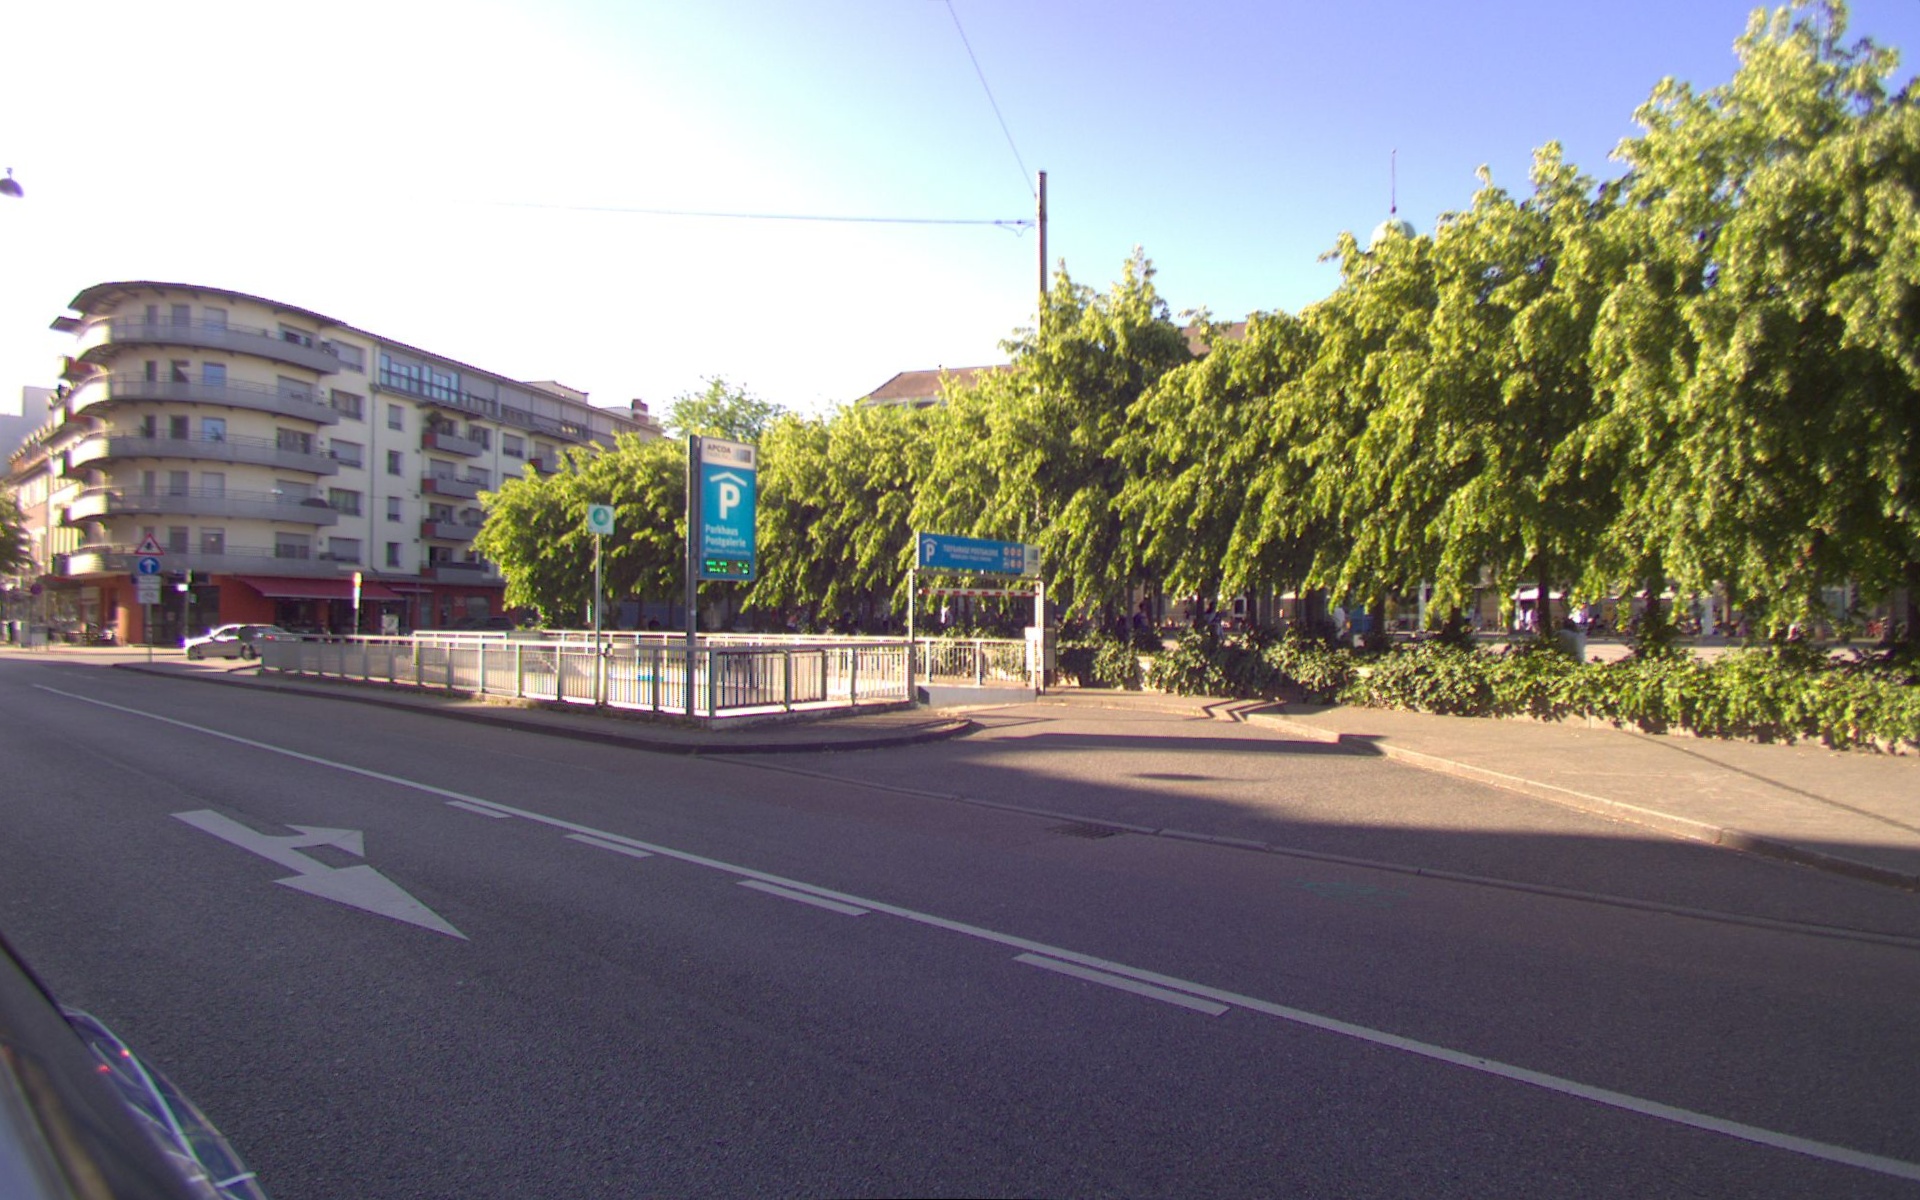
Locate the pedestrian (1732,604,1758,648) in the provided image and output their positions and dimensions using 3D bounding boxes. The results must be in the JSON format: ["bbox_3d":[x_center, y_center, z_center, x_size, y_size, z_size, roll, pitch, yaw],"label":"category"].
[{"bbox_3d":[31.691,1.038,40.852,0.641,1.734,0.605,-1,0,18],"label":"pedestrian"}]

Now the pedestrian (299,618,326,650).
[{"bbox_3d":[-33.609,1.758,52.530,0.877,1.607,0.861,-1,0,2],"label":"pedestrian"}]

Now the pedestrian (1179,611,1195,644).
[{"bbox_3d":[11.919,1.433,53.125,0.606,1.734,0.640,-1,0,31],"label":"pedestrian"}]

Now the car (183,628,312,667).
[{"bbox_3d":[-28.011,1.856,39.825,4.224,1.363,1.816,1,-2,14],"label":"car"}]

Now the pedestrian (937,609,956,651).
[{"bbox_3d":[-0.579,1.271,42.720,0.604,1.734,0.642,-1,0,21],"label":"pedestrian"}]

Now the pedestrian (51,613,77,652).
[{"bbox_3d":[-46.587,1.673,52.617,0.888,2.029,0.850,-1,0,40],"label":"pedestrian"}]

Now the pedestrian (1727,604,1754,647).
[{"bbox_3d":[31.697,1.038,41.114,0.640,1.734,0.606,-1,0,13],"label":"pedestrian"}]

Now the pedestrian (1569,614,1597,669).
[{"bbox_3d":[19.889,1.316,32.317,0.643,1.734,0.604,-1,0,22],"label":"pedestrian"}]

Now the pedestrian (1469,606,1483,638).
[{"bbox_3d":[28.659,1.215,56.235,0.643,1.734,0.603,-1,0,26],"label":"pedestrian"}]

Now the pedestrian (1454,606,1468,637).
[{"bbox_3d":[28.514,1.217,57.611,0.643,1.734,0.603,-1,0,26],"label":"pedestrian"}]

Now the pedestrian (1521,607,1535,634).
[{"bbox_3d":[36.715,1.351,65.428,0.642,1.734,0.604,-1,0,20],"label":"pedestrian"}]

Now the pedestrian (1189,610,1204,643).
[{"bbox_3d":[12.565,1.408,53.739,0.606,1.734,0.640,-1,0,31],"label":"pedestrian"}]

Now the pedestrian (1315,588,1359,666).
[{"bbox_3d":[8.186,0.578,21.967,0.645,1.661,0.626,-1,0,-35],"label":"pedestrian"}]

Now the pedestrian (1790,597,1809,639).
[{"bbox_3d":[40.332,0.851,48.612,0.676,1.963,0.632,-1,0,38],"label":"pedestrian"}]

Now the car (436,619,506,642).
[{"bbox_3d":[-30.499,1.891,63.211,1.742,1.311,3.977,-1,-1,17],"label":"car"}]

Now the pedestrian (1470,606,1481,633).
[{"bbox_3d":[29.152,1.112,57.268,0.537,1.512,0.547,-1,0,29],"label":"pedestrian"}]
